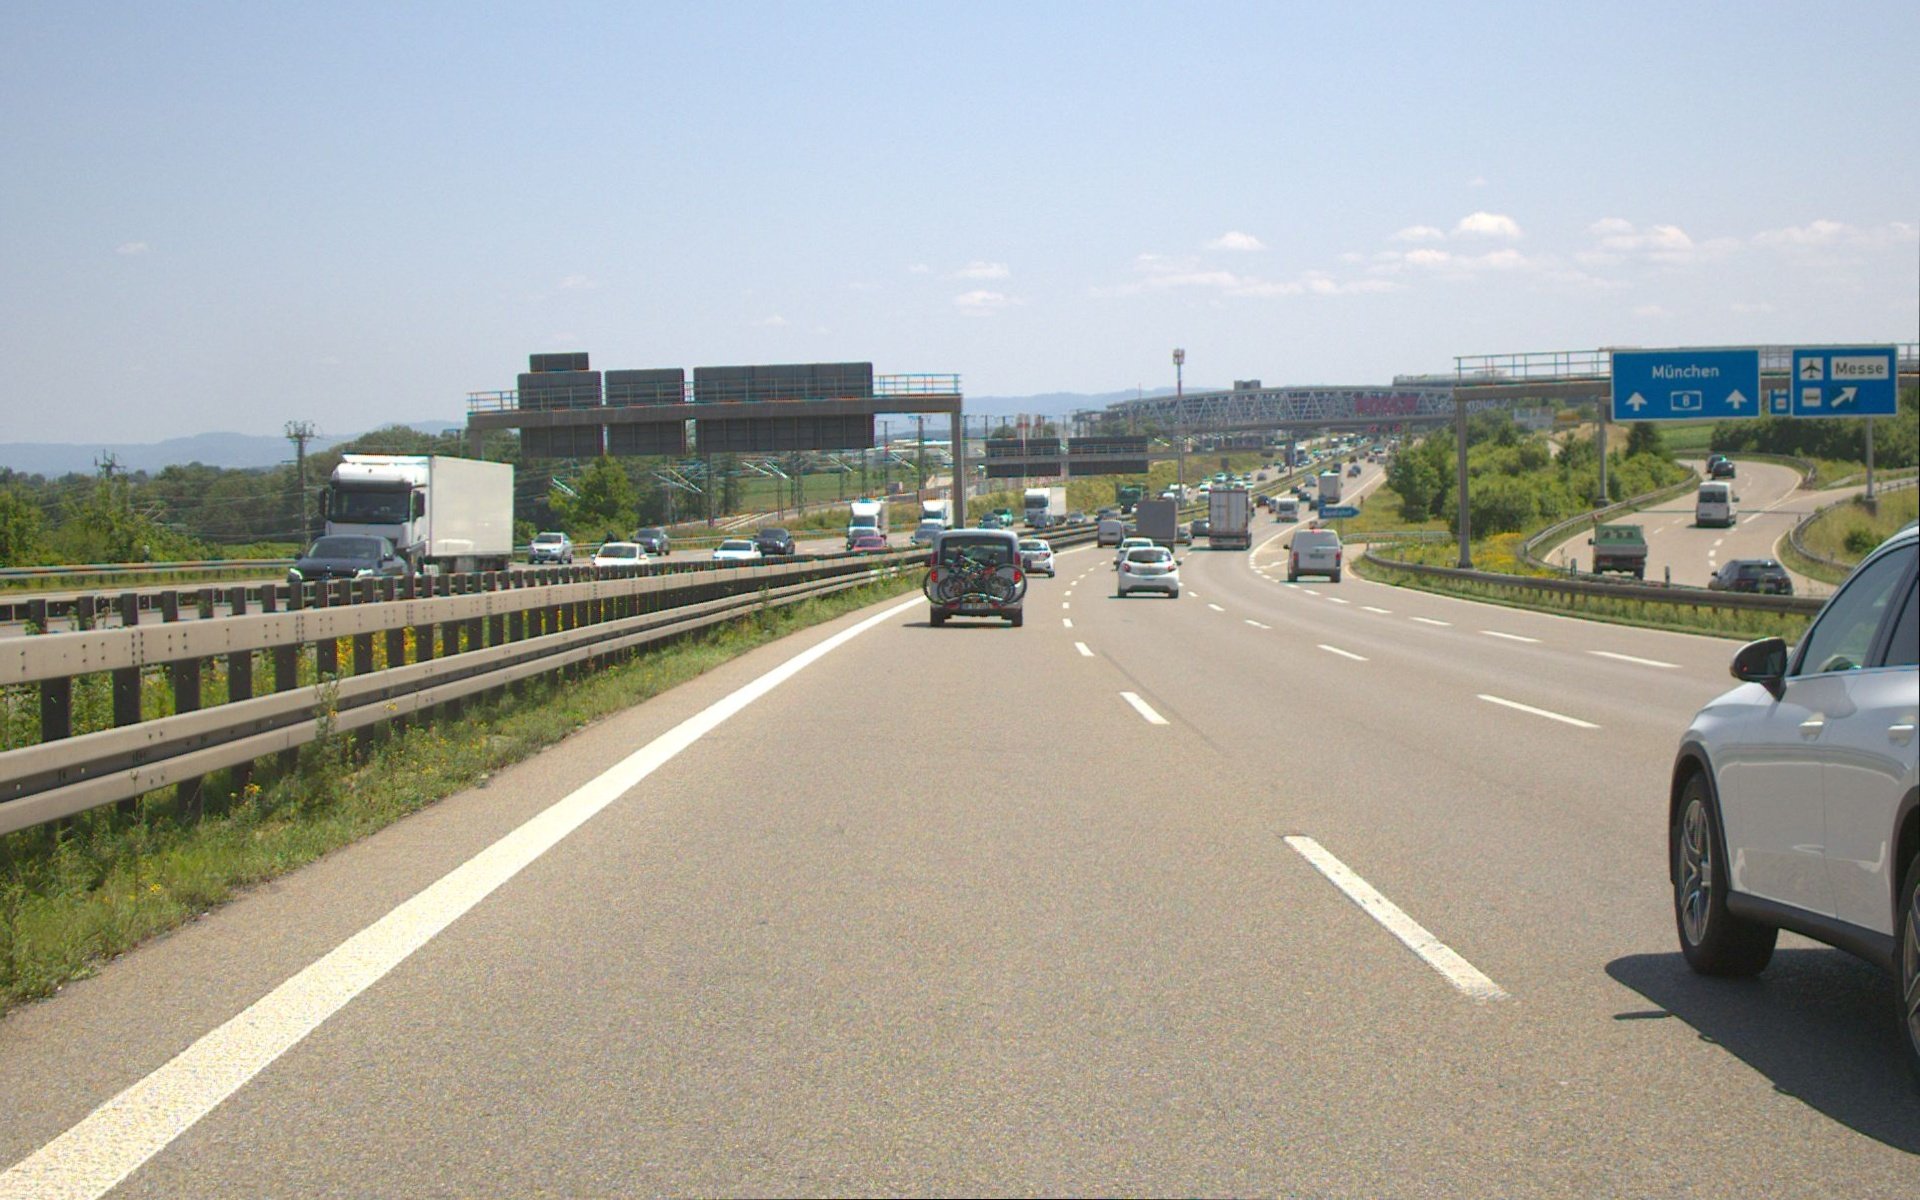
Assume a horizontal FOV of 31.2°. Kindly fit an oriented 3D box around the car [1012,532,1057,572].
[{"bbox_3d":[2.978,-1.907,136.407,1.576,1.547,3.963,1,1,4],"label":"car"}]

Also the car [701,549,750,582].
[{"bbox_3d":[-10.240,-1.506,150.471,1.657,1.398,4.759,1,1,2],"label":"car"}]

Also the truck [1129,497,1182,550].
[{"bbox_3d":[12.123,-4.669,212.247,2.703,3.098,10.656,1,1,6],"label":"truck"}]

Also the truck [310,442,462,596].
[{"bbox_3d":[-16.365,-2.284,98.499,3.035,4.226,6.685,1,1,1],"label":"truck"}]

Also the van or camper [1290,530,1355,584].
[{"bbox_3d":[13.812,-1.627,131.171,2.156,2.007,4.304,1,1,2],"label":"van or camper"}]

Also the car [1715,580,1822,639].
[{"bbox_3d":[22.879,0.252,97.413,1.993,1.590,4.000,1,1,-2],"label":"car"}]

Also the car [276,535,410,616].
[{"bbox_3d":[-13.150,-0.550,73.514,1.993,1.639,4.664,1,1,0],"label":"car"}]

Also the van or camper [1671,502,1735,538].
[{"bbox_3d":[43.316,-4.635,200.530,2.528,2.007,4.461,1,1,-3],"label":"van or camper"}]

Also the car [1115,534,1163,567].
[{"bbox_3d":[8.148,-2.236,156.255,1.982,1.468,3.999,0,1,6],"label":"car"}]

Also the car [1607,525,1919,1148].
[{"bbox_3d":[3.463,0.616,10.650,1.898,1.641,4.999,1,1,-1],"label":"car"}]

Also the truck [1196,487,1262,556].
[{"bbox_3d":[18.128,-5.306,230.800,4.040,4.247,11.756,1,3,6],"label":"truck"}]

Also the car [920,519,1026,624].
[{"bbox_3d":[0.229,-0.550,65.505,1.926,1.912,4.948,1,1,0],"label":"car"}]

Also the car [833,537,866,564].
[{"bbox_3d":[-6.578,-2.951,204.736,1.675,1.609,4.362,1,1,2],"label":"car"}]

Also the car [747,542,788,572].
[{"bbox_3d":[-10.779,-2.419,192.550,1.847,1.650,4.910,1,1,2],"label":"car"}]

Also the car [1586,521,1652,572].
[{"bbox_3d":[26.634,-2.155,139.118,1.993,2.007,4.000,1,1,2],"label":"car"}]

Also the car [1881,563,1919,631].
[{"bbox_3d":[27.799,-0.087,98.805,1.939,1.917,4.178,1,1,6],"label":"car"}]

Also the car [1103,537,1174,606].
[{"bbox_3d":[5.118,-0.829,99.074,1.927,1.912,4.517,1,1,2],"label":"car"}]

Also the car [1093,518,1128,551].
[{"bbox_3d":[10.283,-4.480,234.340,2.186,1.996,4.000,1,4,5],"label":"car"}]

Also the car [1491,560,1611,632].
[{"bbox_3d":[14.337,-0.110,83.605,1.993,1.684,4.001,1,1,-4],"label":"car"}]
